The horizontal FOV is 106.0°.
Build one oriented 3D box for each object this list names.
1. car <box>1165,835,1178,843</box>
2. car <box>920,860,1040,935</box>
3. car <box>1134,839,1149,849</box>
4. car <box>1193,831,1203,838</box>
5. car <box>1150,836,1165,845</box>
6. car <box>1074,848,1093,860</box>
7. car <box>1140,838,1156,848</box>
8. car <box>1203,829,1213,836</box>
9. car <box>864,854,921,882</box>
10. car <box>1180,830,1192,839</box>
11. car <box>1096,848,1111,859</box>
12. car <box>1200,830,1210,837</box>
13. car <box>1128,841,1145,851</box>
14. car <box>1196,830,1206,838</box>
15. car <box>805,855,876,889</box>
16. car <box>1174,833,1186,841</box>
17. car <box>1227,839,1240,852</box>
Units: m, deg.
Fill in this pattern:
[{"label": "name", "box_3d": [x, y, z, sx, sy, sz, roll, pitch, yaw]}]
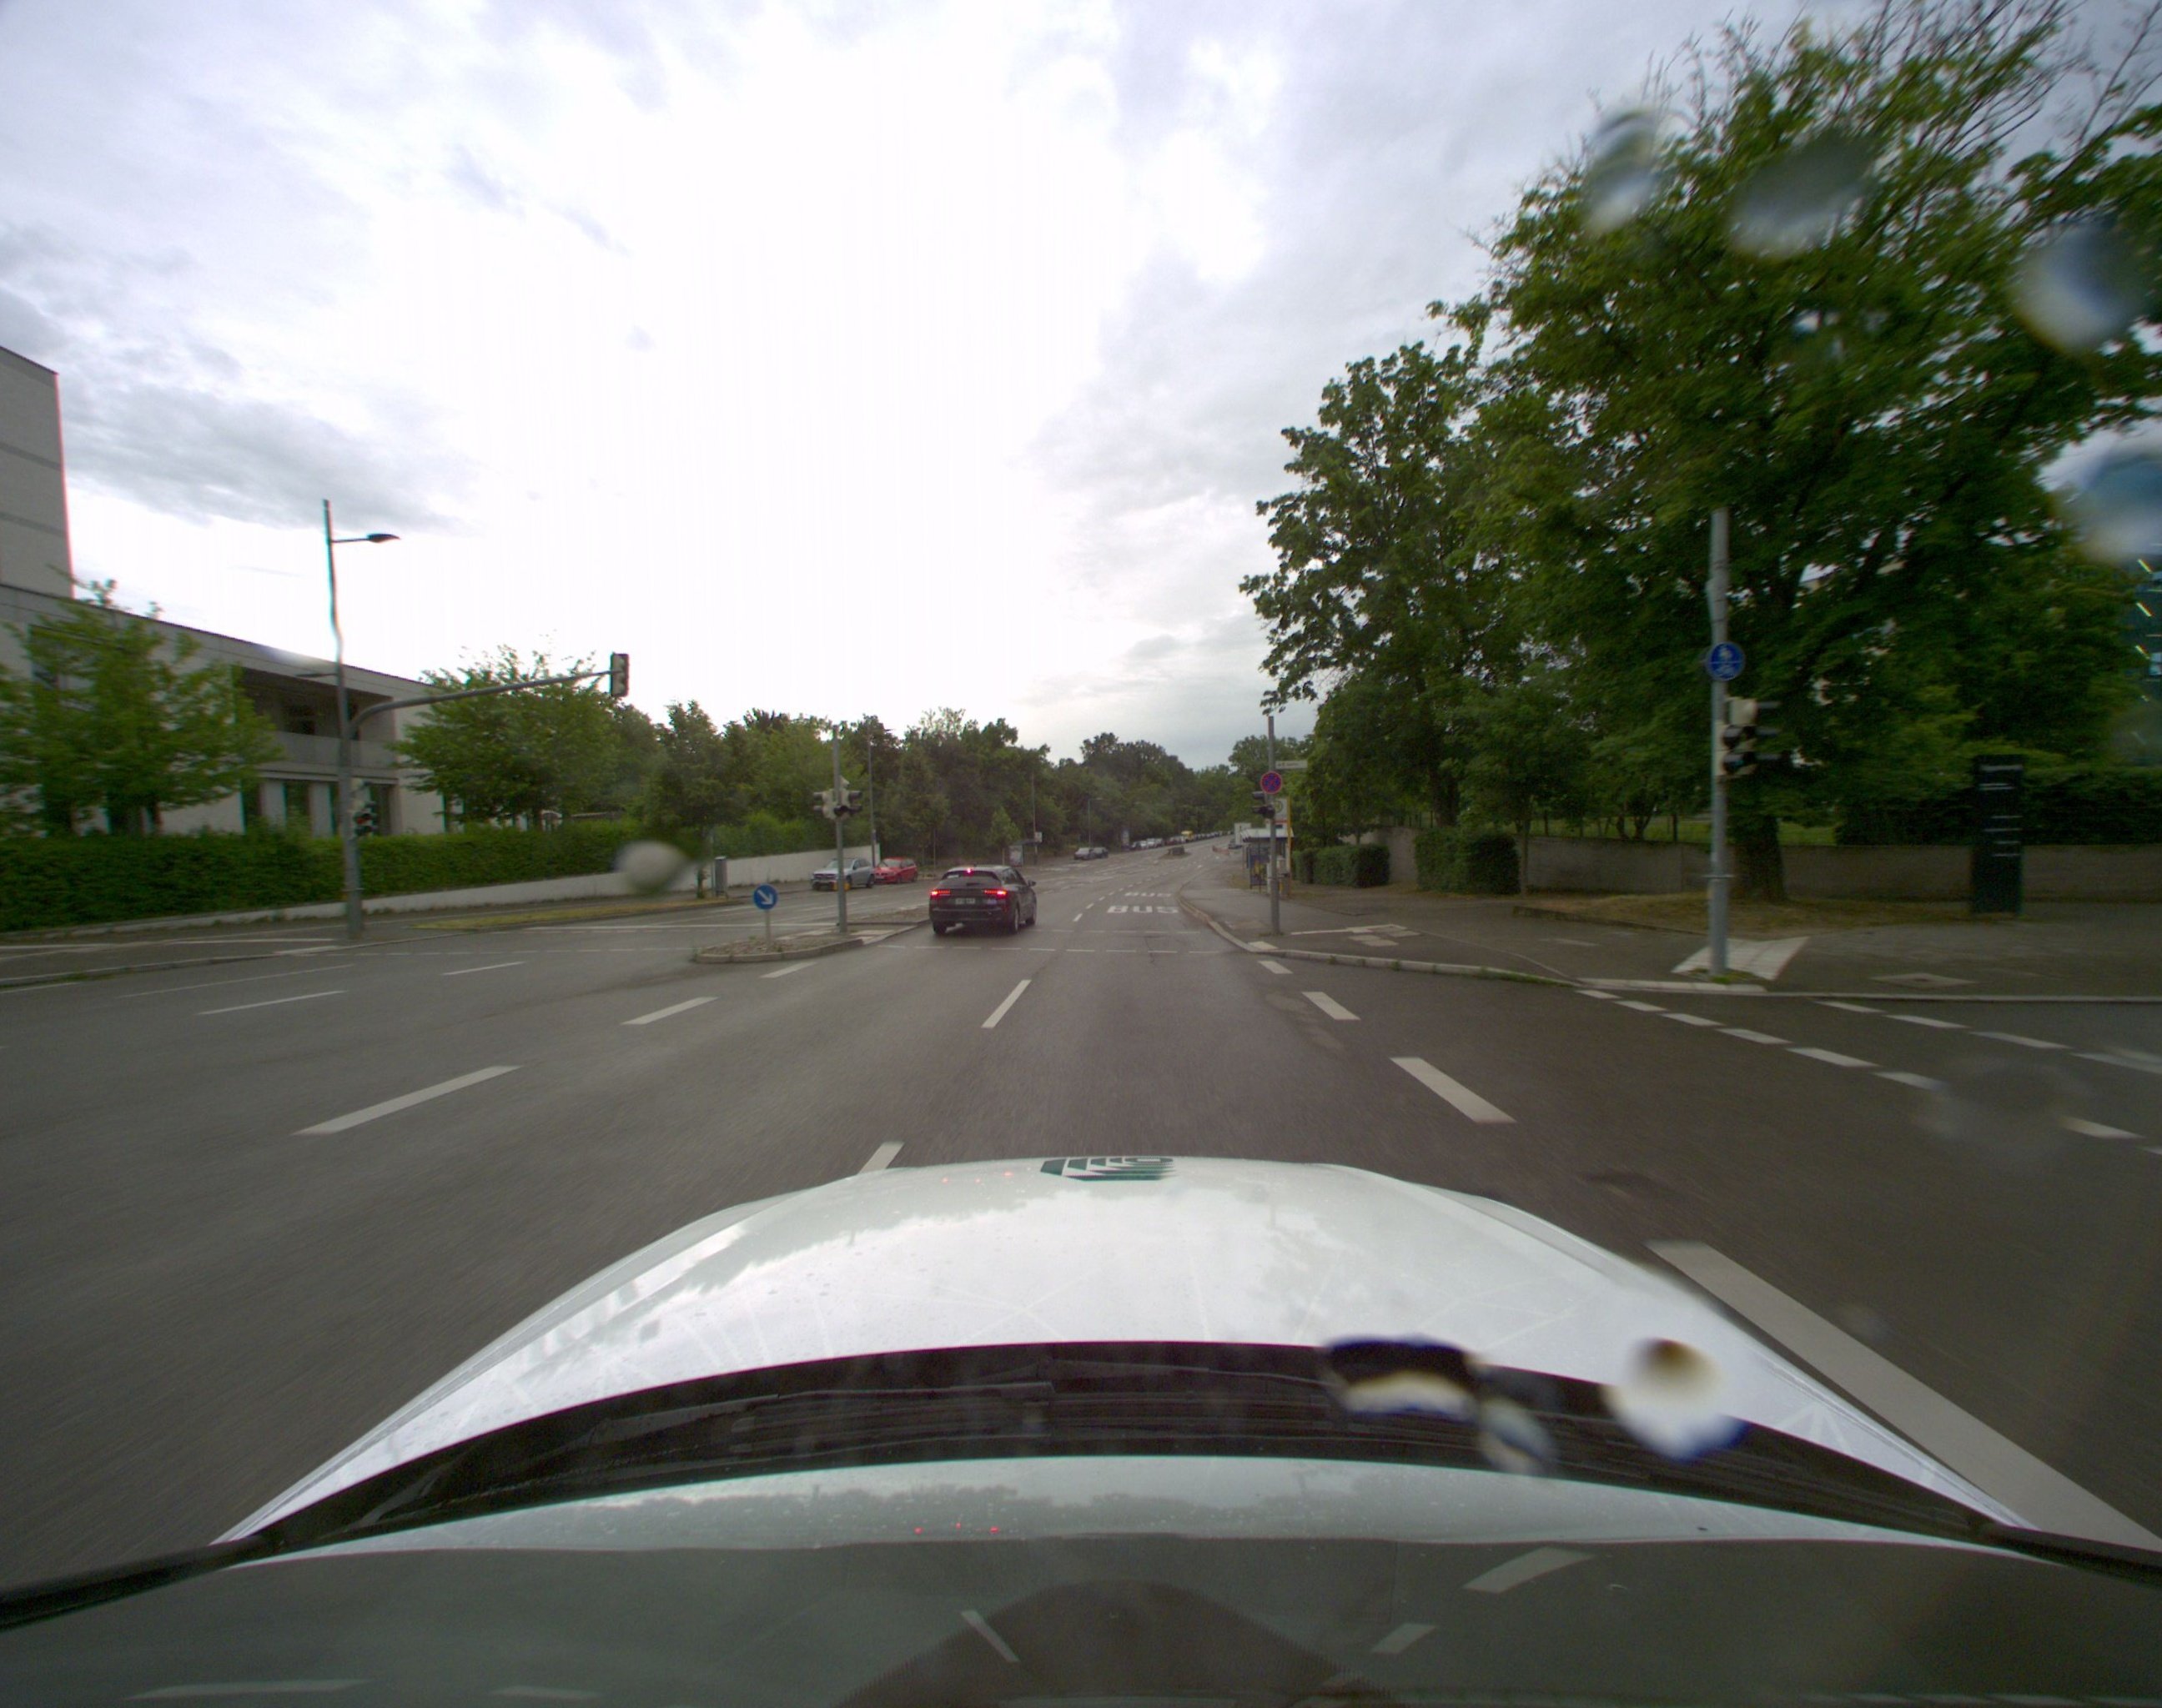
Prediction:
[{"label": "car", "box_3d": [18.594, -3.095, 167.990, 1.941, 1.485, 4.019, 1, 4, 17]}, {"label": "car", "box_3d": [-2.115, 0.872, 18.384, 1.791, 1.430, 4.525, 1, 0, 5]}, {"label": "car", "box_3d": [10.609, -1.710, 142.981, 1.845, 1.485, 4.019, 1, 4, 17]}, {"label": "car", "box_3d": [27.611, -4.628, 192.104, 1.941, 1.653, 4.019, 1, 4, 17]}, {"label": "car", "box_3d": [14.666, -2.543, 156.062, 1.941, 1.485, 4.019, 1, 4, 17]}, {"label": "car", "box_3d": [0.324, 0.018, 103.817, 1.701, 1.460, 3.763, -1, 0, 12]}, {"label": "car", "box_3d": [12.195, -2.018, 147.816, 1.941, 1.485, 4.019, 1, 4, 17]}, {"label": "car", "box_3d": [32.593, -5.414, 208.328, 1.941, 1.653, 4.019, 1, 4, 17]}, {"label": "car", "box_3d": [-11.500, 0.814, 49.979, 1.863, 1.575, 4.234, 1, 0, 9]}, {"label": "car", "box_3d": [23.685, -4.432, 184.096, 1.941, 1.936, 4.019, 1, 4, 17]}, {"label": "car", "box_3d": [3.002, -0.037, 109.450, 1.407, 1.424, 3.132, -1, 0, 12]}, {"label": "car", "box_3d": [30.975, -5.069, 203.001, 1.941, 1.653, 4.019, 1, 4, 17]}, {"label": "car", "box_3d": [9.384, -1.401, 138.144, 1.941, 1.485, 4.019, 1, 4, 17]}, {"label": "car", "box_3d": [29.039, -4.844, 197.046, 1.941, 1.653, 4.019, 1, 4, 17]}, {"label": "car", "box_3d": [-12.540, 0.899, 42.691, 1.841, 1.640, 4.106, 1, 1, 11]}, {"label": "car", "box_3d": [21.728, -3.741, 178.149, 1.941, 1.618, 4.019, 1, 4, 17]}, {"label": "car", "box_3d": [26.647, -1.522, 142.588, 1.979, 2.077, 4.017, 1, 4, 14]}]
